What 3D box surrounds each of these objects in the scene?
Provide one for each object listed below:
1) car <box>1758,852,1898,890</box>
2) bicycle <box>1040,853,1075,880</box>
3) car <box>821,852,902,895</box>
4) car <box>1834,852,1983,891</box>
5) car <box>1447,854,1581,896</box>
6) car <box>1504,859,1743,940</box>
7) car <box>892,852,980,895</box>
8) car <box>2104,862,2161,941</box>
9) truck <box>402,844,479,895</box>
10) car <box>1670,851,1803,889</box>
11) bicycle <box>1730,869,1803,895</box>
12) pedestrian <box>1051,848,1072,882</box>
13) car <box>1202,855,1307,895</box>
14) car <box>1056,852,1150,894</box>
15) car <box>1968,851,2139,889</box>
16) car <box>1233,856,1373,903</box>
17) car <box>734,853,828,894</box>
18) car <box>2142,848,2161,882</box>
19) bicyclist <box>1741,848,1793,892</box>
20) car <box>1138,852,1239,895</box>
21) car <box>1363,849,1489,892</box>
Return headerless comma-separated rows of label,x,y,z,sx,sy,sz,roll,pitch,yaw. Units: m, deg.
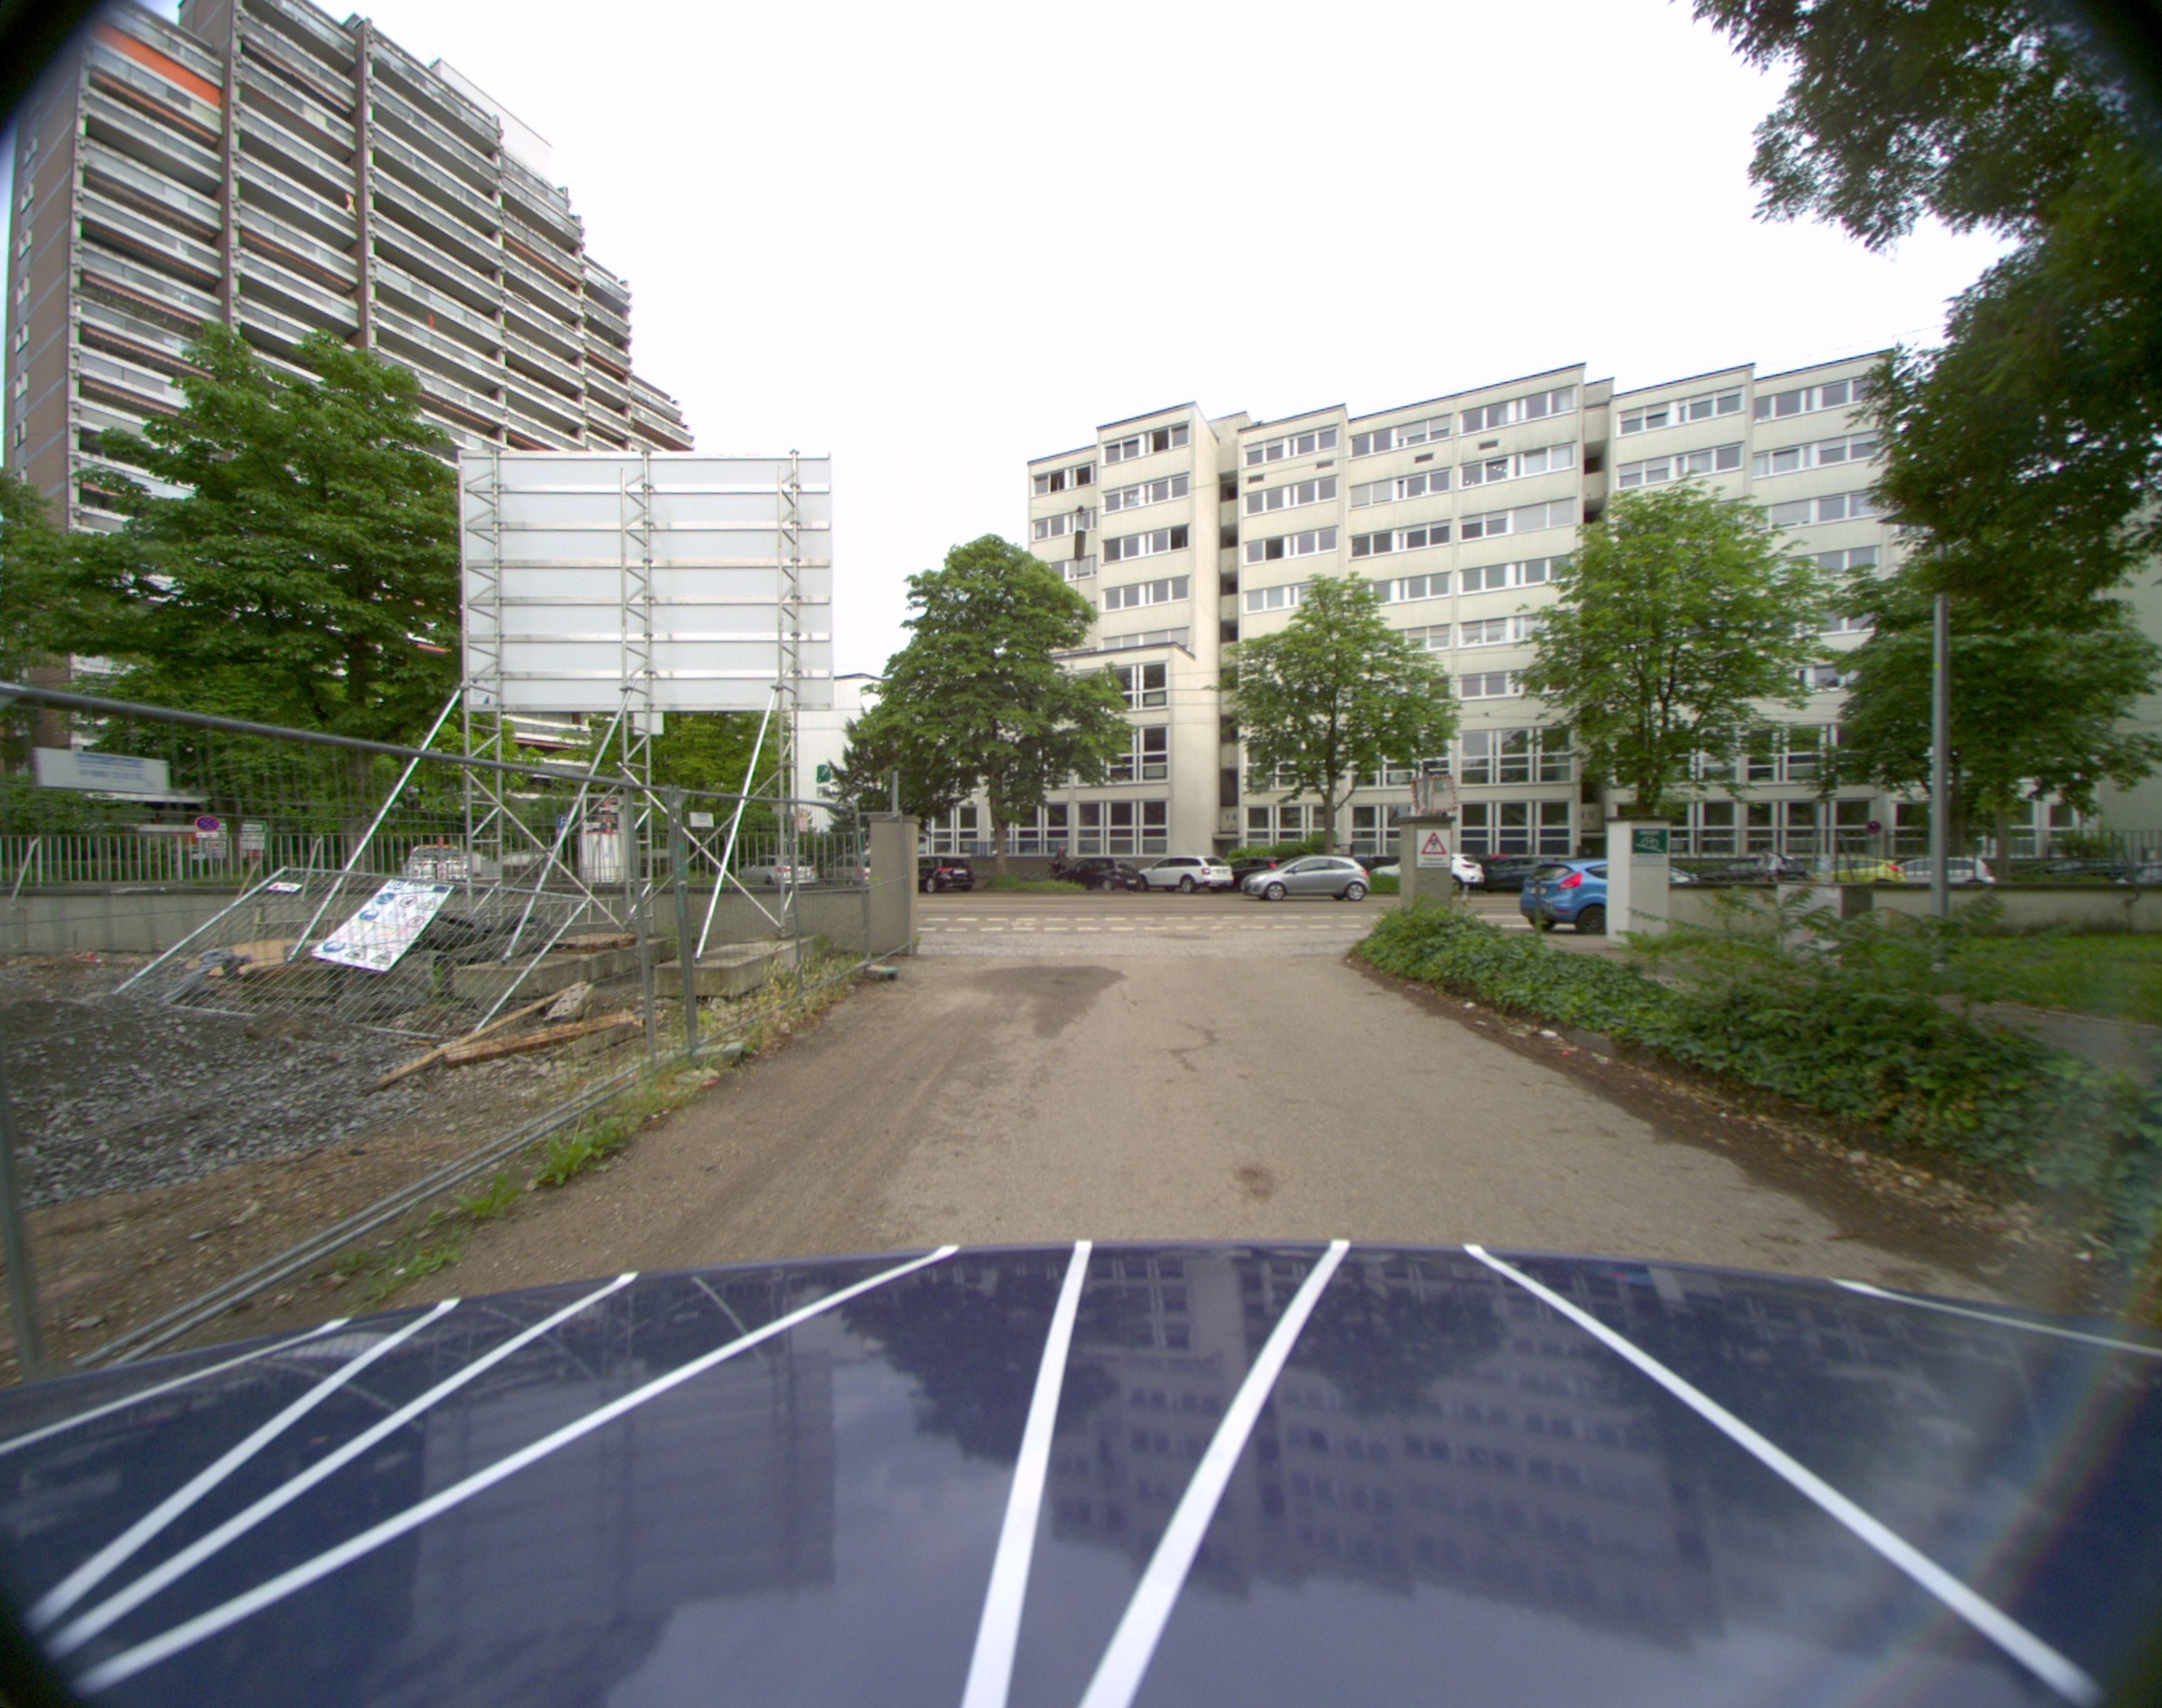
car,30.237,0.629,30.880,1.703,1.344,3.956,-2,3,-45
bicycle,-1.111,0.602,36.235,1.593,1.261,0.406,0,1,10
car,-8.804,0.733,30.312,1.576,1.515,3.640,-2,3,-44
car,33.237,0.654,30.693,1.703,1.344,3.956,-2,3,-45
car,17.292,0.775,30.485,1.703,1.446,4.333,-2,3,-45
car,10.389,0.841,14.724,3.430,1.452,1.679,0,-1,0
car,-5.806,0.730,30.251,1.703,1.515,3.694,-2,3,-44
car,22.543,0.921,14.655,3.563,1.473,1.479,0,2,0
truck,-26.061,0.551,30.836,2.004,1.838,5.049,-2,2,-44
car,26.710,0.600,31.055,1.703,1.344,3.956,-2,3,-45
bicycle,24.086,0.980,26.701,2.137,0.864,0.470,0,0,1
pedestrian,-0.955,0.526,36.967,0.753,1.603,0.735,2,3,21
car,6.995,0.814,30.957,1.703,1.398,4.017,-2,2,-37
car,0.850,0.720,30.839,1.703,1.515,3.694,-2,3,-44
car,38.435,0.584,30.199,1.703,1.344,3.956,-2,3,-45
car,7.066,0.807,24.456,3.997,1.420,1.746,0,1,0
car,-12.188,0.736,30.731,4.418,1.456,1.807,2,2,43
car,46.864,0.504,31.091,1.702,1.378,3.711,-1,2,-24
bicyclist,24.053,0.553,26.659,1.026,1.491,0.846,0,0,1
car,4.256,0.729,30.637,1.703,1.476,4.017,-2,2,-37
car,13.933,0.613,30.811,4.333,1.547,1.703,1,3,42
